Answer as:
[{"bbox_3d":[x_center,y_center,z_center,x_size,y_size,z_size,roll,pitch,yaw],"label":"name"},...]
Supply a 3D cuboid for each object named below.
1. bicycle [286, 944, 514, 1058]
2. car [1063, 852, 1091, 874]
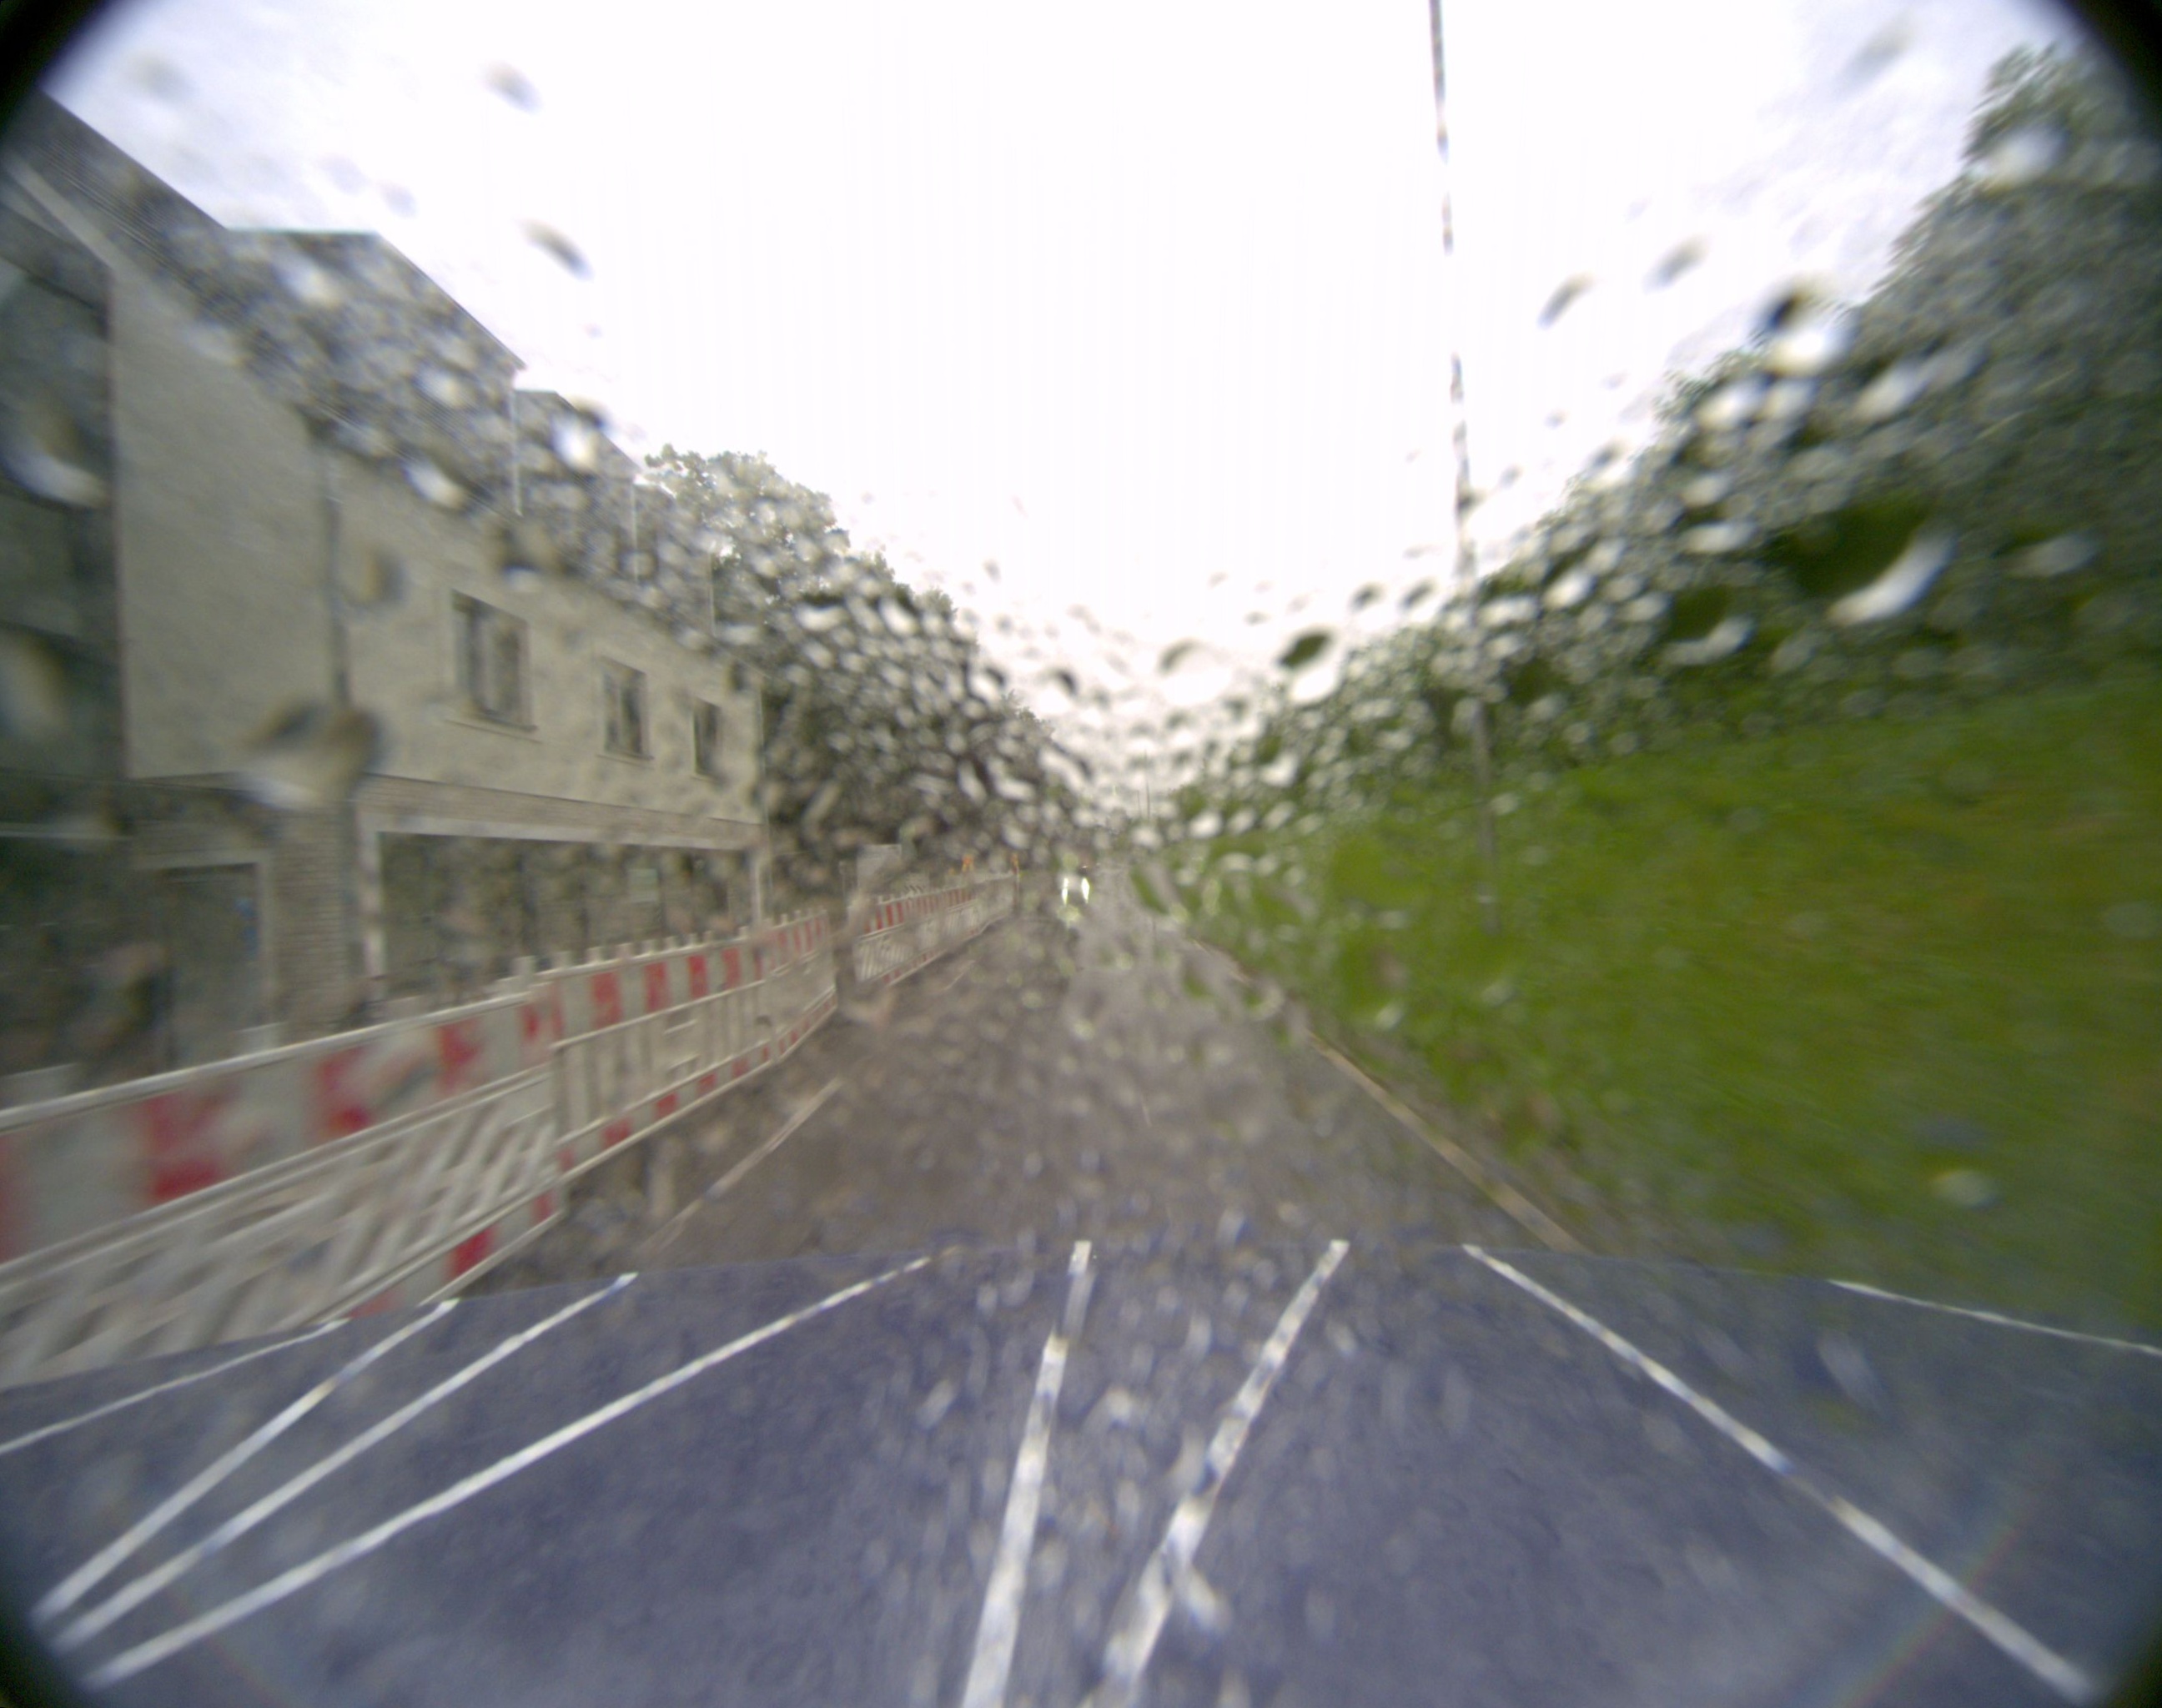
[{"bbox_3d":[-6.118,1.283,6.973,0.497,0.693,1.740,2,0,1],"label":"bicycle"},{"bbox_3d":[-0.267,0.641,57.387,1.798,1.543,4.001,0,0,5],"label":"car"}]
